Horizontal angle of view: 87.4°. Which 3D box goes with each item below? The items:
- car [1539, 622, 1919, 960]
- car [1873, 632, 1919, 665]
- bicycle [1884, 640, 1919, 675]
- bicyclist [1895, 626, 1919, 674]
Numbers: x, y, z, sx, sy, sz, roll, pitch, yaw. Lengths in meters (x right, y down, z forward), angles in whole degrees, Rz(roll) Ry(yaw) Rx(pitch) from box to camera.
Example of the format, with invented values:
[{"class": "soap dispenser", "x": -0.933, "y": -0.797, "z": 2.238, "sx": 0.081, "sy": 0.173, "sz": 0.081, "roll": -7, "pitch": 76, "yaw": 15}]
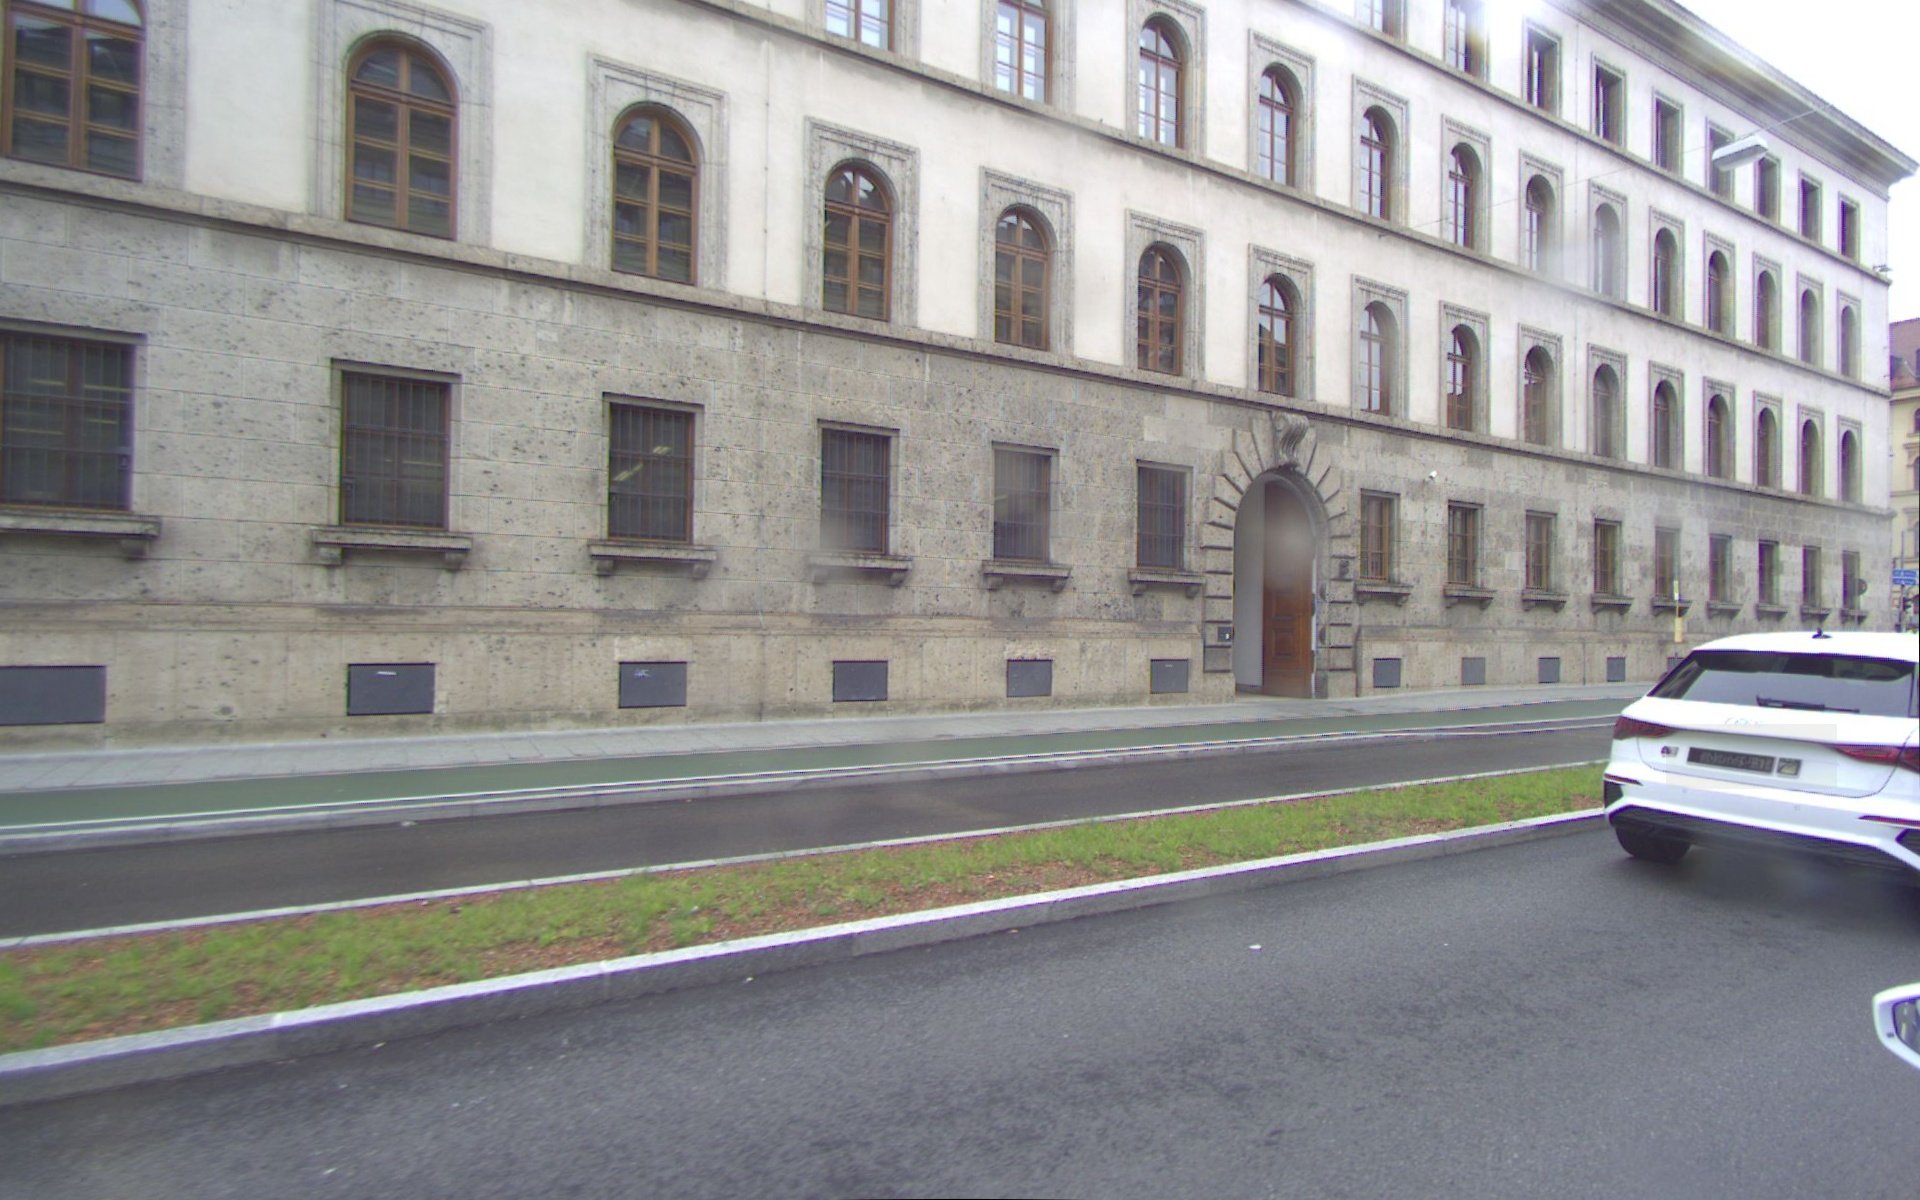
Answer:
[{"class": "car", "x": 5.749, "y": 0.900, "z": 6.207, "sx": 4.399, "sy": 1.443, "sz": 1.805, "roll": 1, "pitch": 0, "yaw": -30}, {"class": "car", "x": 53.853, "y": 2.727, "z": 56.288, "sx": 1.851, "sy": 1.822, "sz": 3.713, "roll": 2, "pitch": -2, "yaw": -37}, {"class": "bicycle", "x": 35.720, "y": 2.149, "z": 37.646, "sx": 2.416, "sy": 1.259, "sz": 0.784, "roll": 1, "pitch": 0, "yaw": -26}, {"class": "bicyclist", "x": 35.733, "y": 1.877, "z": 37.648, "sx": 0.679, "sy": 1.772, "sz": 0.795, "roll": 1, "pitch": 0, "yaw": -26}]
